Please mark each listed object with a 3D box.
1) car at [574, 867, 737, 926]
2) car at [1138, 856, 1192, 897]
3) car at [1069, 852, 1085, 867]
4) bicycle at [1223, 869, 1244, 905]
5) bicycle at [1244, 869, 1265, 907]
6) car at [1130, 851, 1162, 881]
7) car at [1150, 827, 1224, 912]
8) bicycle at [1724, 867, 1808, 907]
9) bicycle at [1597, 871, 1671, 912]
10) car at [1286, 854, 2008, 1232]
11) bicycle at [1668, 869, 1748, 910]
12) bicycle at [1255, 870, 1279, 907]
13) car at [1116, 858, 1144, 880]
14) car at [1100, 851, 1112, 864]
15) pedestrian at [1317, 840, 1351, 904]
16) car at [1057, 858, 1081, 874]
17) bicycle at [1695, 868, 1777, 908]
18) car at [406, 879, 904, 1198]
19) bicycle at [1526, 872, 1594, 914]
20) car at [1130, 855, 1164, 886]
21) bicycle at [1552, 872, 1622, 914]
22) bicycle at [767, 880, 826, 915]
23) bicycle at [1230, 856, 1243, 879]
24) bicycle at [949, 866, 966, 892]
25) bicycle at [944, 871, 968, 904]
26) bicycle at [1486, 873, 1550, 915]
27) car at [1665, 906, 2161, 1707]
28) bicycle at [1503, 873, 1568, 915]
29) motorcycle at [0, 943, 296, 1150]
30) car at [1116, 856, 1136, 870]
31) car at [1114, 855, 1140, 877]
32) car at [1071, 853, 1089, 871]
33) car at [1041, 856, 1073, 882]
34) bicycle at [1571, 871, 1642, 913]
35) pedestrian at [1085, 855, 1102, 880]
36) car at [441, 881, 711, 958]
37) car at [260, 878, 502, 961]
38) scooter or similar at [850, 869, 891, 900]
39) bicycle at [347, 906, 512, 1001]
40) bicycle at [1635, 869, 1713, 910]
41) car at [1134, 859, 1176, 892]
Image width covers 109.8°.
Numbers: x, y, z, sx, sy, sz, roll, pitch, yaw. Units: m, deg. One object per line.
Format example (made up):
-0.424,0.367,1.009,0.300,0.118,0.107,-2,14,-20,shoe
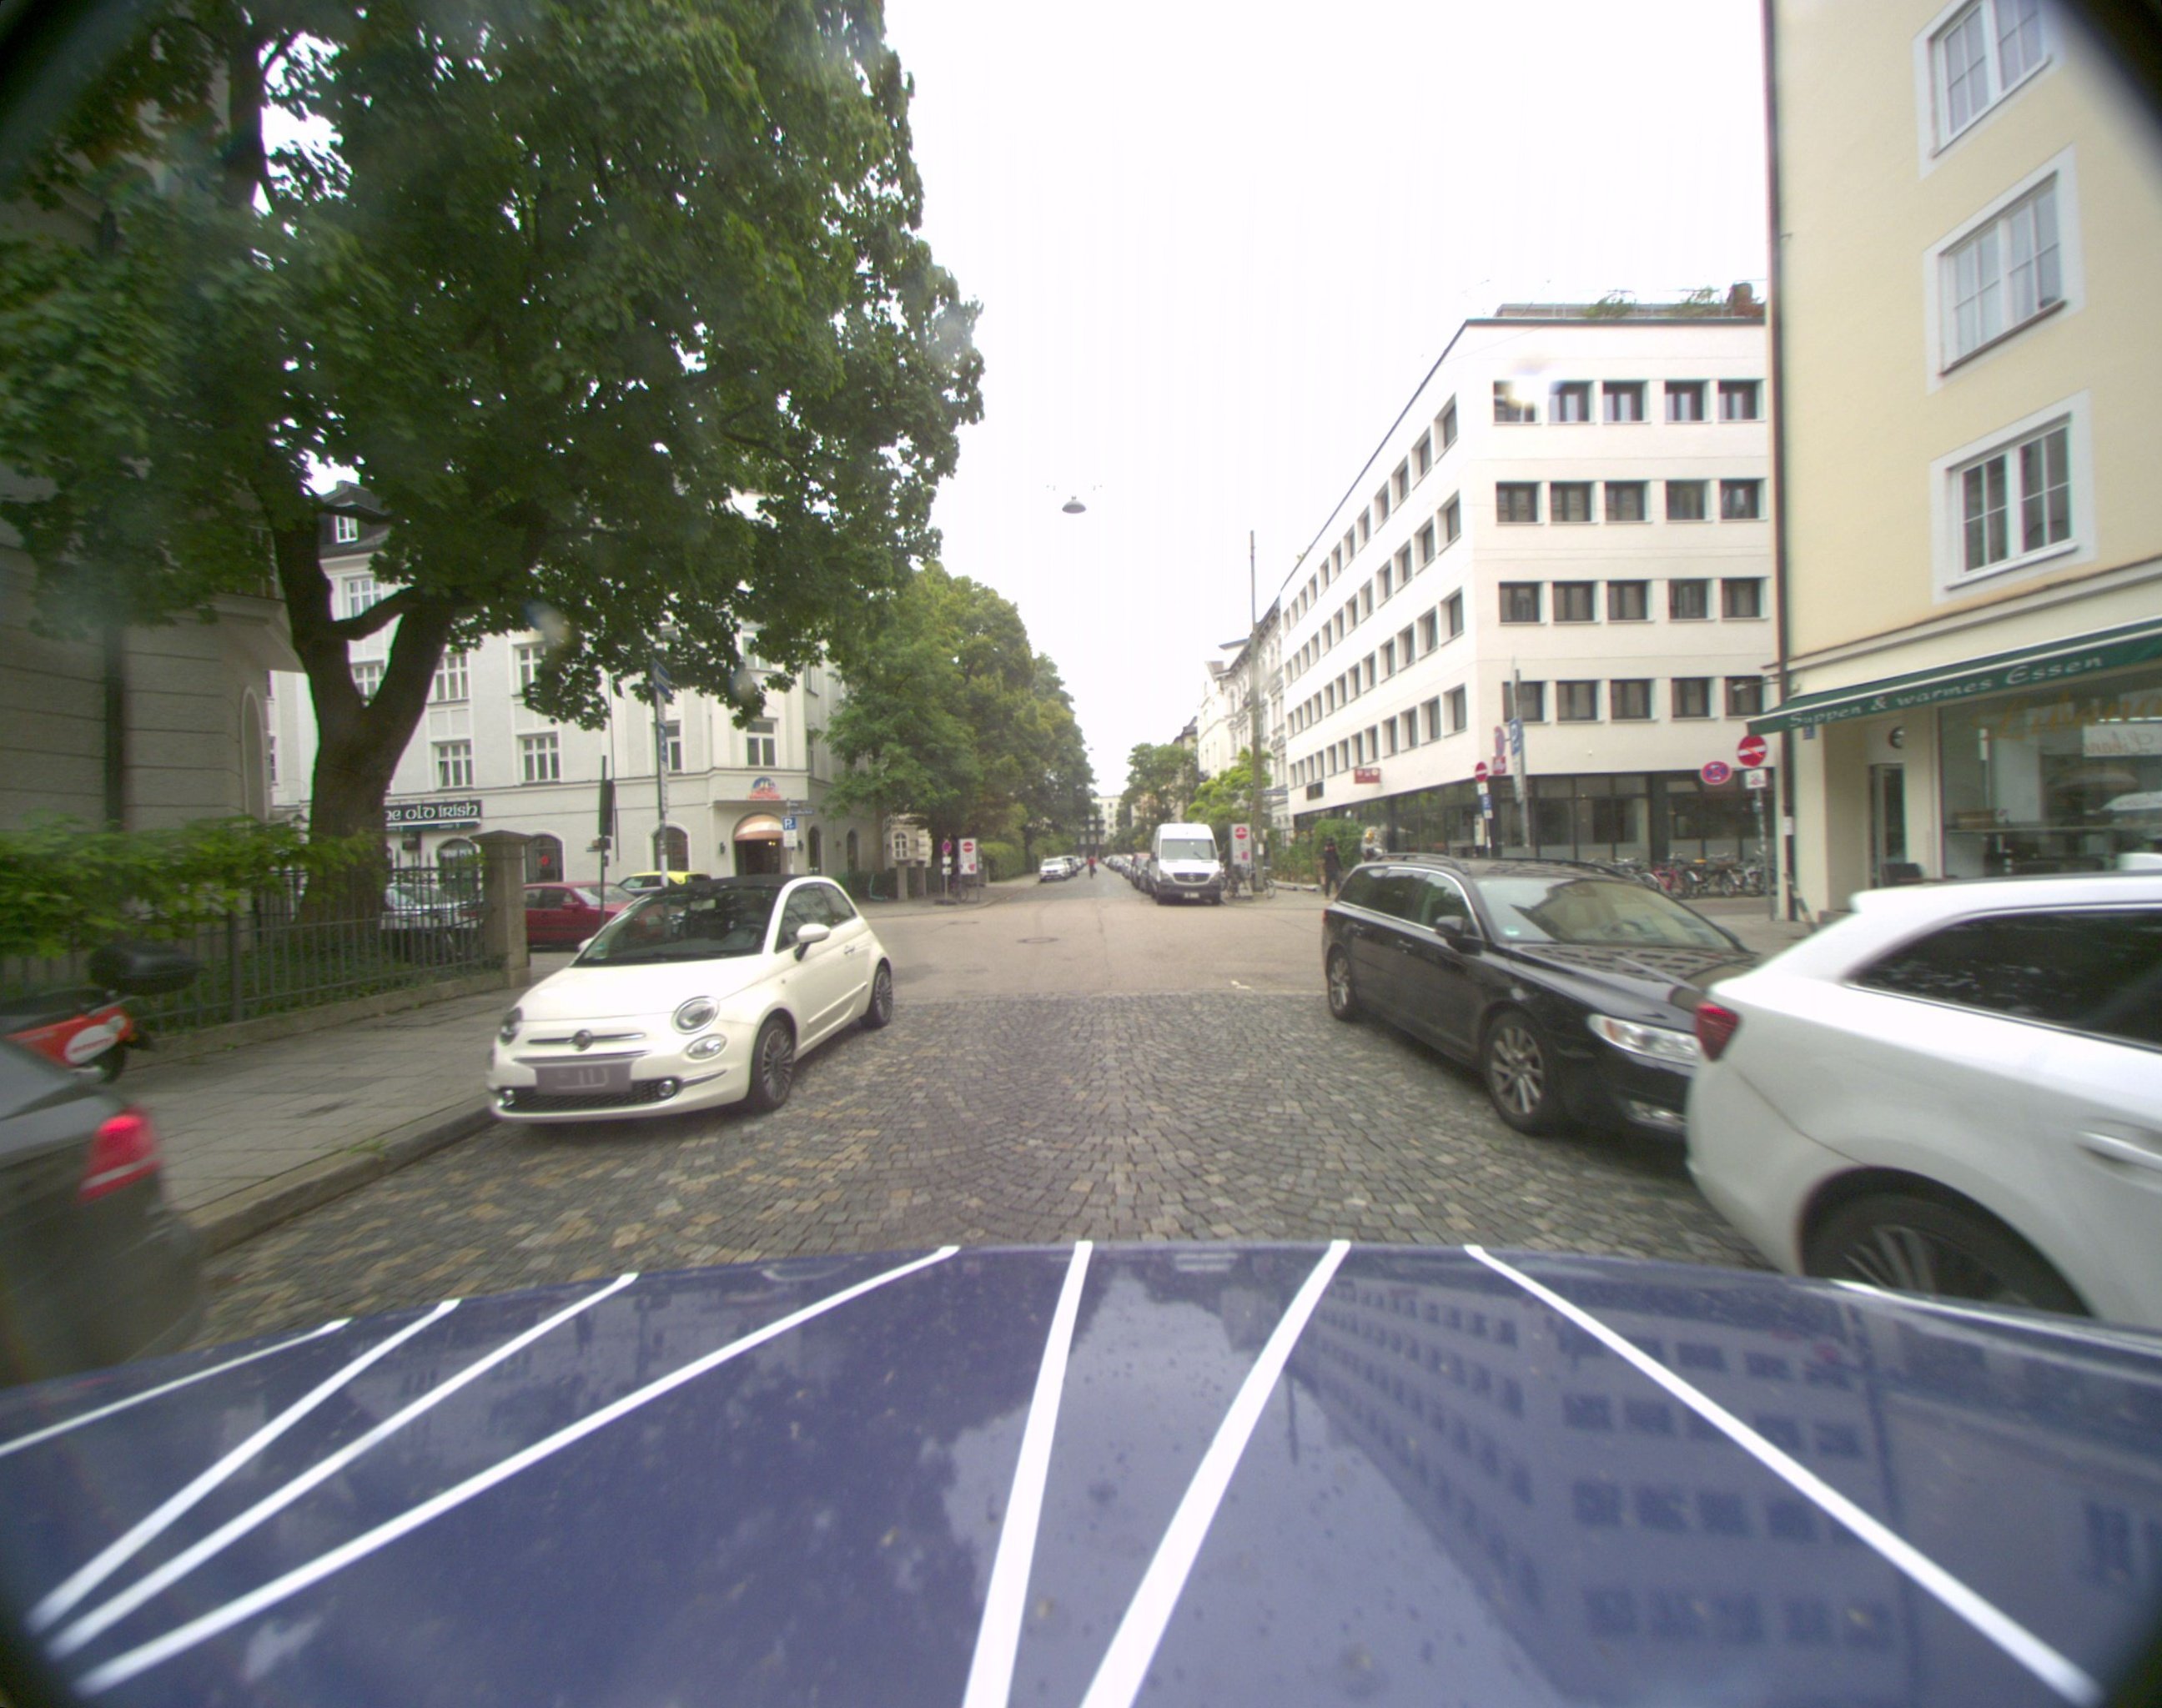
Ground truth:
-13.023,1.284,23.334,4.081,1.588,1.907,-2,1,13,car
3.368,0.868,31.078,1.666,1.474,3.981,-2,0,-1,car
-0.494,0.753,106.545,1.998,2.002,4.000,-2,0,2,car
4.927,1.045,24.618,0.286,1.085,1.815,-2,0,0,bicycle
5.549,1.082,24.363,0.256,1.120,1.807,-2,1,0,bicycle
3.964,0.714,47.055,1.722,1.713,3.898,-1,0,1,car
3.417,0.442,25.571,1.981,2.559,5.795,0,1,3,car
18.127,0.845,20.162,0.398,0.963,1.893,-2,0,-5,bicycle
14.329,0.955,19.754,0.398,0.963,1.893,-2,0,-5,bicycle
3.159,0.835,5.737,1.857,1.577,4.747,-2,0,0,car
16.377,0.900,19.896,0.398,0.963,1.893,-2,0,-5,bicycle
5.977,1.083,24.430,0.286,1.085,1.815,-2,1,0,bicycle
3.412,1.042,53.244,1.635,1.386,3.815,-2,0,0,car
4.109,0.576,124.998,1.762,2.002,4.000,-2,0,2,car
7.449,0.526,22.376,0.615,1.829,0.813,-2,1,-5,pedestrian
-1.072,1.030,66.757,1.924,1.290,4.807,-1,0,-3,car
17.240,0.871,20.068,0.398,0.963,1.893,-2,0,-5,bicycle
-2.656,1.027,5.841,1.505,1.462,3.795,-2,0,2,car
12.343,0.985,19.643,0.398,0.963,1.893,-2,0,-5,bicycle
3.625,0.869,41.669,1.697,1.495,3.778,-2,0,5,car
13.053,0.979,19.669,0.398,0.963,1.893,-2,0,-5,bicycle
-9.195,1.398,24.594,1.605,1.063,0.739,0,4,4,bicycle
8.278,0.725,40.462,0.361,1.168,1.911,-2,1,3,bicycle
-6.056,1.206,37.261,0.428,1.191,1.731,3,1,2,bicycle
-4.641,1.242,28.332,0.389,1.140,1.590,-2,1,8,bicycle
11.207,1.010,19.560,0.398,0.963,1.893,-2,0,-5,bicycle
2.787,0.976,0.219,1.778,1.527,4.540,-2,0,1,car
11.685,0.996,19.591,0.398,0.963,1.893,-2,0,-5,bicycle
-6.472,1.256,5.325,0.363,1.084,1.404,-2,1,4,motorcycle
4.722,0.935,80.271,1.886,1.411,4.809,-1,0,1,car
3.574,0.907,59.814,1.694,1.563,4.067,-2,0,0,car
-0.048,0.810,80.176,1.818,1.809,4.808,0,0,0,car
-1.681,1.027,55.184,1.925,1.676,4.633,-2,1,2,car
13.580,0.966,19.700,0.398,0.963,1.893,-2,0,-5,bicycle
0.908,0.960,54.684,1.105,1.768,1.263,-2,1,2,pedestrian
-10.066,1.290,15.294,4.475,1.350,1.761,-2,0,9,car
-14.810,1.361,16.169,3.894,1.512,1.566,-2,1,7,car
-8.156,1.193,29.433,1.604,1.166,0.405,-1,1,25,scooter or similar
-8.290,1.245,9.682,1.841,1.117,0.563,-1,0,11,bicycle
15.404,0.895,19.798,0.398,0.963,1.893,-2,0,-5,bicycle
3.526,0.974,36.737,1.730,1.456,4.473,0,0,2,car
